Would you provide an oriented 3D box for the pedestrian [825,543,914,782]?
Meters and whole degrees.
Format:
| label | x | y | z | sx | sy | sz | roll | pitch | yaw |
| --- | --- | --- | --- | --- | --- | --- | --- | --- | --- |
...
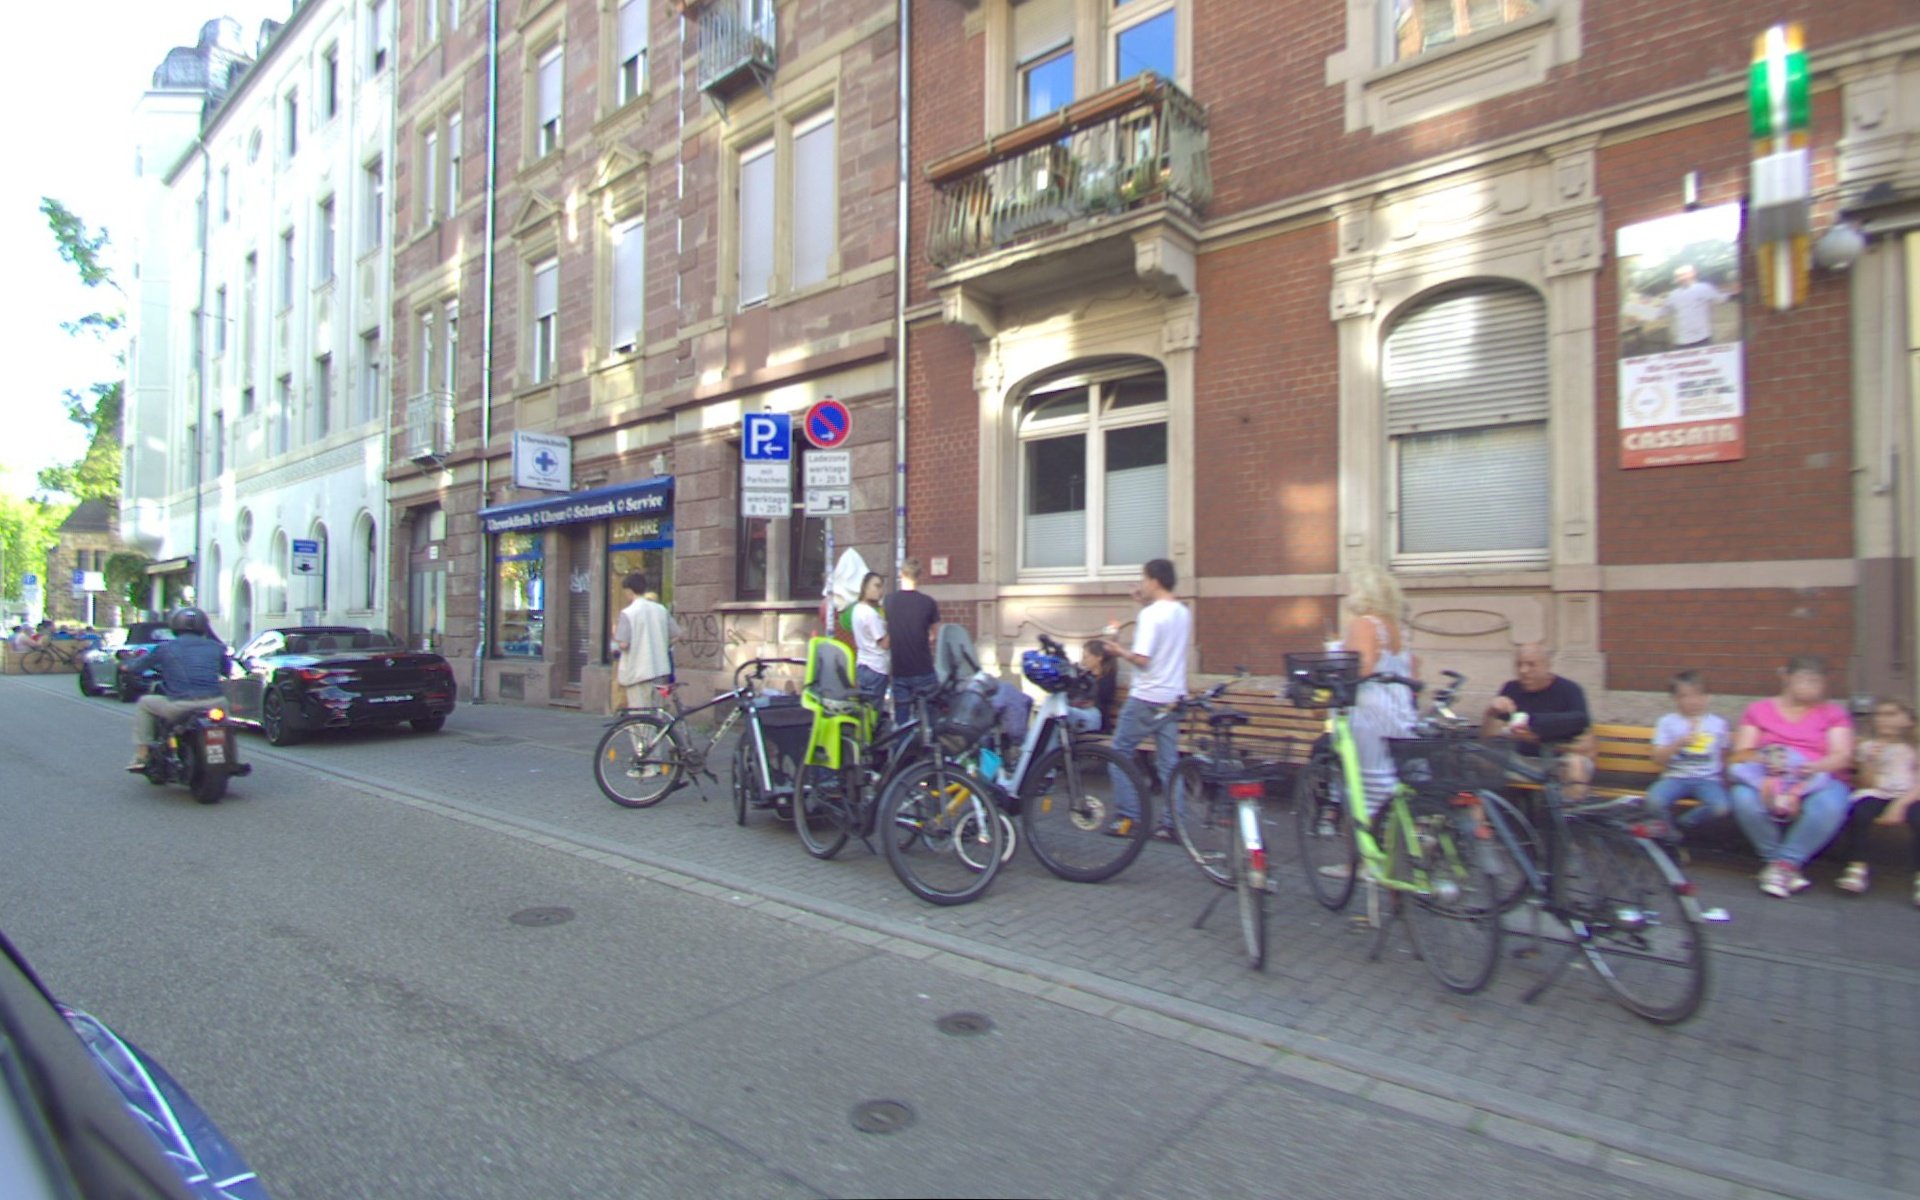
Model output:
| label | x | y | z | sx | sy | sz | roll | pitch | yaw |
| --- | --- | --- | --- | --- | --- | --- | --- | --- | --- |
| pedestrian | -0.818 | 0.533 | 9.012 | 0.634 | 2.029 | 0.632 | 0 | -1 | -21 |

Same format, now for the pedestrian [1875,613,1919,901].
| label | x | y | z | sx | sy | sz | roll | pitch | yaw |
| --- | --- | --- | --- | --- | --- | --- | --- | --- | --- |
| pedestrian | 4.720 | 0.724 | 4.872 | 0.372 | 1.323 | 0.694 | -1 | -1 | 37 |

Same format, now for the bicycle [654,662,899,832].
| label | x | y | z | sx | sy | sz | roll | pitch | yaw |
| --- | --- | --- | --- | --- | --- | --- | --- | --- | --- |
| bicycle | -1.277 | 0.993 | 7.179 | 1.658 | 1.038 | 0.410 | 0 | -1 | -28 |

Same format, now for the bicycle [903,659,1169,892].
| label | x | y | z | sx | sy | sz | roll | pitch | yaw |
| --- | --- | --- | --- | --- | --- | --- | --- | --- | --- |
| bicycle | 0.378 | 0.936 | 5.983 | 0.570 | 1.098 | 1.742 | 0 | -1 | -36 |

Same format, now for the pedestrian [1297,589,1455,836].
| label | x | y | z | sx | sy | sz | roll | pitch | yaw |
| --- | --- | --- | --- | --- | --- | --- | --- | --- | --- |
| pedestrian | 2.687 | 0.685 | 6.553 | 0.596 | 1.481 | 0.727 | 0 | -1 | -38 |

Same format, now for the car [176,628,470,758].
| label | x | y | z | sx | sy | sz | roll | pitch | yaw |
| --- | --- | --- | --- | --- | --- | --- | --- | --- | --- |
| car | -8.379 | 1.052 | 13.097 | 5.112 | 1.361 | 1.793 | -1 | -2 | 41 |

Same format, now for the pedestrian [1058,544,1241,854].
| label | x | y | z | sx | sy | sz | roll | pitch | yaw |
| --- | --- | --- | --- | --- | --- | --- | --- | --- | --- |
| pedestrian | 1.166 | 0.572 | 6.327 | 0.596 | 1.765 | 0.947 | 0 | -1 | -36 |

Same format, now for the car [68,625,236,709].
| label | x | y | z | sx | sy | sz | roll | pitch | yaw |
| --- | --- | --- | --- | --- | --- | --- | --- | --- | --- |
| car | -15.572 | 1.216 | 19.450 | 4.006 | 1.426 | 1.654 | -1 | -1 | 38 |

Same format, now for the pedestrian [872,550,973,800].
| label | x | y | z | sx | sy | sz | roll | pitch | yaw |
| --- | --- | --- | --- | --- | --- | --- | --- | --- | --- |
| pedestrian | -0.311 | 0.576 | 8.123 | 0.637 | 1.906 | 0.603 | -1 | -1 | -19 |

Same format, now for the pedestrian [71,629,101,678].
| label | x | y | z | sx | sy | sz | roll | pitch | yaw |
| --- | --- | --- | --- | --- | --- | --- | --- | --- | --- |
| pedestrian | -25.312 | 1.537 | 29.309 | 0.684 | 1.383 | 0.628 | -2 | -1 | 45 |

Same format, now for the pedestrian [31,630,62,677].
| label | x | y | z | sx | sy | sz | roll | pitch | yaw |
| --- | --- | --- | --- | --- | --- | --- | --- | --- | --- |
| pedestrian | -26.867 | 1.553 | 29.774 | 0.658 | 1.346 | 0.740 | 0 | -1 | -42 |

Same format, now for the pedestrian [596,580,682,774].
| label | x | y | z | sx | sy | sz | roll | pitch | yaw |
| --- | --- | --- | --- | --- | --- | --- | --- | --- | --- |
| pedestrian | -3.085 | 0.712 | 9.713 | 0.750 | 1.773 | 0.668 | -1 | -1 | -19 |

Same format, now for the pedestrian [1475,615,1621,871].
| label | x | y | z | sx | sy | sz | roll | pitch | yaw |
| --- | --- | --- | --- | --- | --- | --- | --- | --- | --- |
| pedestrian | 3.338 | 0.751 | 5.732 | 0.605 | 1.323 | 0.716 | -1 | -1 | 38 |

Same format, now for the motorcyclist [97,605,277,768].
| label | x | y | z | sx | sy | sz | roll | pitch | yaw |
| --- | --- | --- | --- | --- | --- | --- | --- | --- | --- |
| motorcyclist | -6.434 | 0.677 | 8.445 | 0.801 | 1.254 | 1.004 | -1 | -1 | 35 |

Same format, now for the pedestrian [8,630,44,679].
| label | x | y | z | sx | sy | sz | roll | pitch | yaw |
| --- | --- | --- | --- | --- | --- | --- | --- | --- | --- |
| pedestrian | -26.622 | 1.551 | 28.840 | 0.644 | 1.359 | 0.729 | -2 | -1 | 44 |

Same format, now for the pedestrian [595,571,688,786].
| label | x | y | z | sx | sy | sz | roll | pitch | yaw |
| --- | --- | --- | --- | --- | --- | --- | --- | --- | --- |
| pedestrian | -2.863 | 0.674 | 9.077 | 0.750 | 1.832 | 0.668 | -1 | -1 | -19 |

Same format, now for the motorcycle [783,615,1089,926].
| label | x | y | z | sx | sy | sz | roll | pitch | yaw |
| --- | --- | --- | --- | --- | --- | --- | --- | --- | --- |
| motorcycle | -0.232 | 0.792 | 5.620 | 0.697 | 1.395 | 2.029 | 0 | -1 | -34 |

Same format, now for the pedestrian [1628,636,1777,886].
| label | x | y | z | sx | sy | sz | roll | pitch | yaw |
| --- | --- | --- | --- | --- | --- | --- | --- | --- | --- |
| pedestrian | 3.983 | 0.808 | 5.442 | 0.585 | 1.206 | 0.701 | -1 | -1 | 37 |

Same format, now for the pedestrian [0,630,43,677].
| label | x | y | z | sx | sy | sz | roll | pitch | yaw |
| --- | --- | --- | --- | --- | --- | --- | --- | --- | --- |
| pedestrian | -28.501 | 1.600 | 30.644 | 1.073 | 1.383 | 0.896 | 0 | -1 | -41 |

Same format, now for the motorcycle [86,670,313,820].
| label | x | y | z | sx | sy | sz | roll | pitch | yaw |
| --- | --- | --- | --- | --- | --- | --- | --- | --- | --- |
| motorcycle | -6.389 | 1.135 | 8.441 | 2.493 | 1.003 | 0.787 | -1 | -1 | 35 |

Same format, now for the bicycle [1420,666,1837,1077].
| label | x | y | z | sx | sy | sz | roll | pitch | yaw |
| --- | --- | --- | --- | --- | --- | --- | --- | --- | --- |
| bicycle | 2.399 | 0.870 | 3.914 | 0.548 | 1.129 | 1.735 | -1 | -1 | 5 |

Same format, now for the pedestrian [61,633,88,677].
| label | x | y | z | sx | sy | sz | roll | pitch | yaw |
| --- | --- | --- | --- | --- | --- | --- | --- | --- | --- |
| pedestrian | -26.385 | 1.626 | 30.164 | 0.589 | 1.253 | 0.694 | 0 | -1 | -42 |

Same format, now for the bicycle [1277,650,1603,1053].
| label | x | y | z | sx | sy | sz | roll | pitch | yaw |
| --- | --- | --- | --- | --- | --- | --- | --- | --- | --- |
| bicycle | 1.808 | 0.843 | 4.131 | 0.583 | 1.209 | 1.788 | -1 | -1 | 5 |

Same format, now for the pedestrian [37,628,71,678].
| label | x | y | z | sx | sy | sz | roll | pitch | yaw |
| --- | --- | --- | --- | --- | --- | --- | --- | --- | --- |
| pedestrian | -25.834 | 1.511 | 28.867 | 0.740 | 1.383 | 0.680 | -2 | -1 | 45 |

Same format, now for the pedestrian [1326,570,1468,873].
| label | x | y | z | sx | sy | sz | roll | pitch | yaw |
| --- | --- | --- | --- | --- | --- | --- | --- | --- | --- |
| pedestrian | 2.526 | 0.659 | 5.847 | 0.584 | 1.629 | 0.547 | -2 | -1 | 41 |

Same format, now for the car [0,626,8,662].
| label | x | y | z | sx | sy | sz | roll | pitch | yaw |
| --- | --- | --- | --- | --- | --- | --- | --- | --- | --- |
| car | -42.589 | 1.897 | 43.679 | 4.168 | 1.497 | 1.804 | -1 | -1 | 41 |

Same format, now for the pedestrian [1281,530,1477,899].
| label | x | y | z | sx | sy | sz | roll | pitch | yaw |
| --- | --- | --- | --- | --- | --- | --- | --- | --- | --- |
| pedestrian | 2.190 | 0.553 | 5.315 | 0.596 | 1.765 | 0.727 | 0 | -1 | -38 |

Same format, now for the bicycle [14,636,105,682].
| label | x | y | z | sx | sy | sz | roll | pitch | yaw |
| --- | --- | --- | --- | --- | --- | --- | --- | --- | --- |
| bicycle | -25.023 | 1.616 | 28.144 | 0.688 | 1.184 | 1.848 | -2 | -1 | 43 |

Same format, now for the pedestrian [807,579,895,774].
| label | x | y | z | sx | sy | sz | roll | pitch | yaw |
| --- | --- | --- | --- | --- | --- | --- | --- | --- | --- |
| pedestrian | -1.047 | 0.696 | 9.632 | 0.678 | 1.773 | 0.668 | -1 | -1 | -19 |

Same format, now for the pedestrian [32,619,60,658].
| label | x | y | z | sx | sy | sz | roll | pitch | yaw |
| --- | --- | --- | --- | --- | --- | --- | --- | --- | --- |
| pedestrian | -40.866 | 1.708 | 45.232 | 0.879 | 1.722 | 0.834 | -2 | -1 | 41 |

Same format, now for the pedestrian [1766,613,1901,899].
| label | x | y | z | sx | sy | sz | roll | pitch | yaw |
| --- | --- | --- | --- | --- | --- | --- | --- | --- | --- |
| pedestrian | 4.393 | 0.730 | 5.123 | 0.439 | 1.323 | 0.711 | -1 | -1 | 37 |

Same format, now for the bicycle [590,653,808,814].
| label | x | y | z | sx | sy | sz | roll | pitch | yaw |
| --- | --- | --- | --- | --- | --- | --- | --- | --- | --- |
| bicycle | -1.951 | 0.983 | 7.660 | 1.556 | 1.125 | 0.375 | -1 | -1 | -10 |

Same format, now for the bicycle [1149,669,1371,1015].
| label | x | y | z | sx | sy | sz | roll | pitch | yaw |
| --- | --- | --- | --- | --- | --- | --- | --- | --- | --- |
| bicycle | 1.208 | 0.907 | 4.376 | 0.583 | 1.129 | 1.568 | -1 | -1 | 5 |
